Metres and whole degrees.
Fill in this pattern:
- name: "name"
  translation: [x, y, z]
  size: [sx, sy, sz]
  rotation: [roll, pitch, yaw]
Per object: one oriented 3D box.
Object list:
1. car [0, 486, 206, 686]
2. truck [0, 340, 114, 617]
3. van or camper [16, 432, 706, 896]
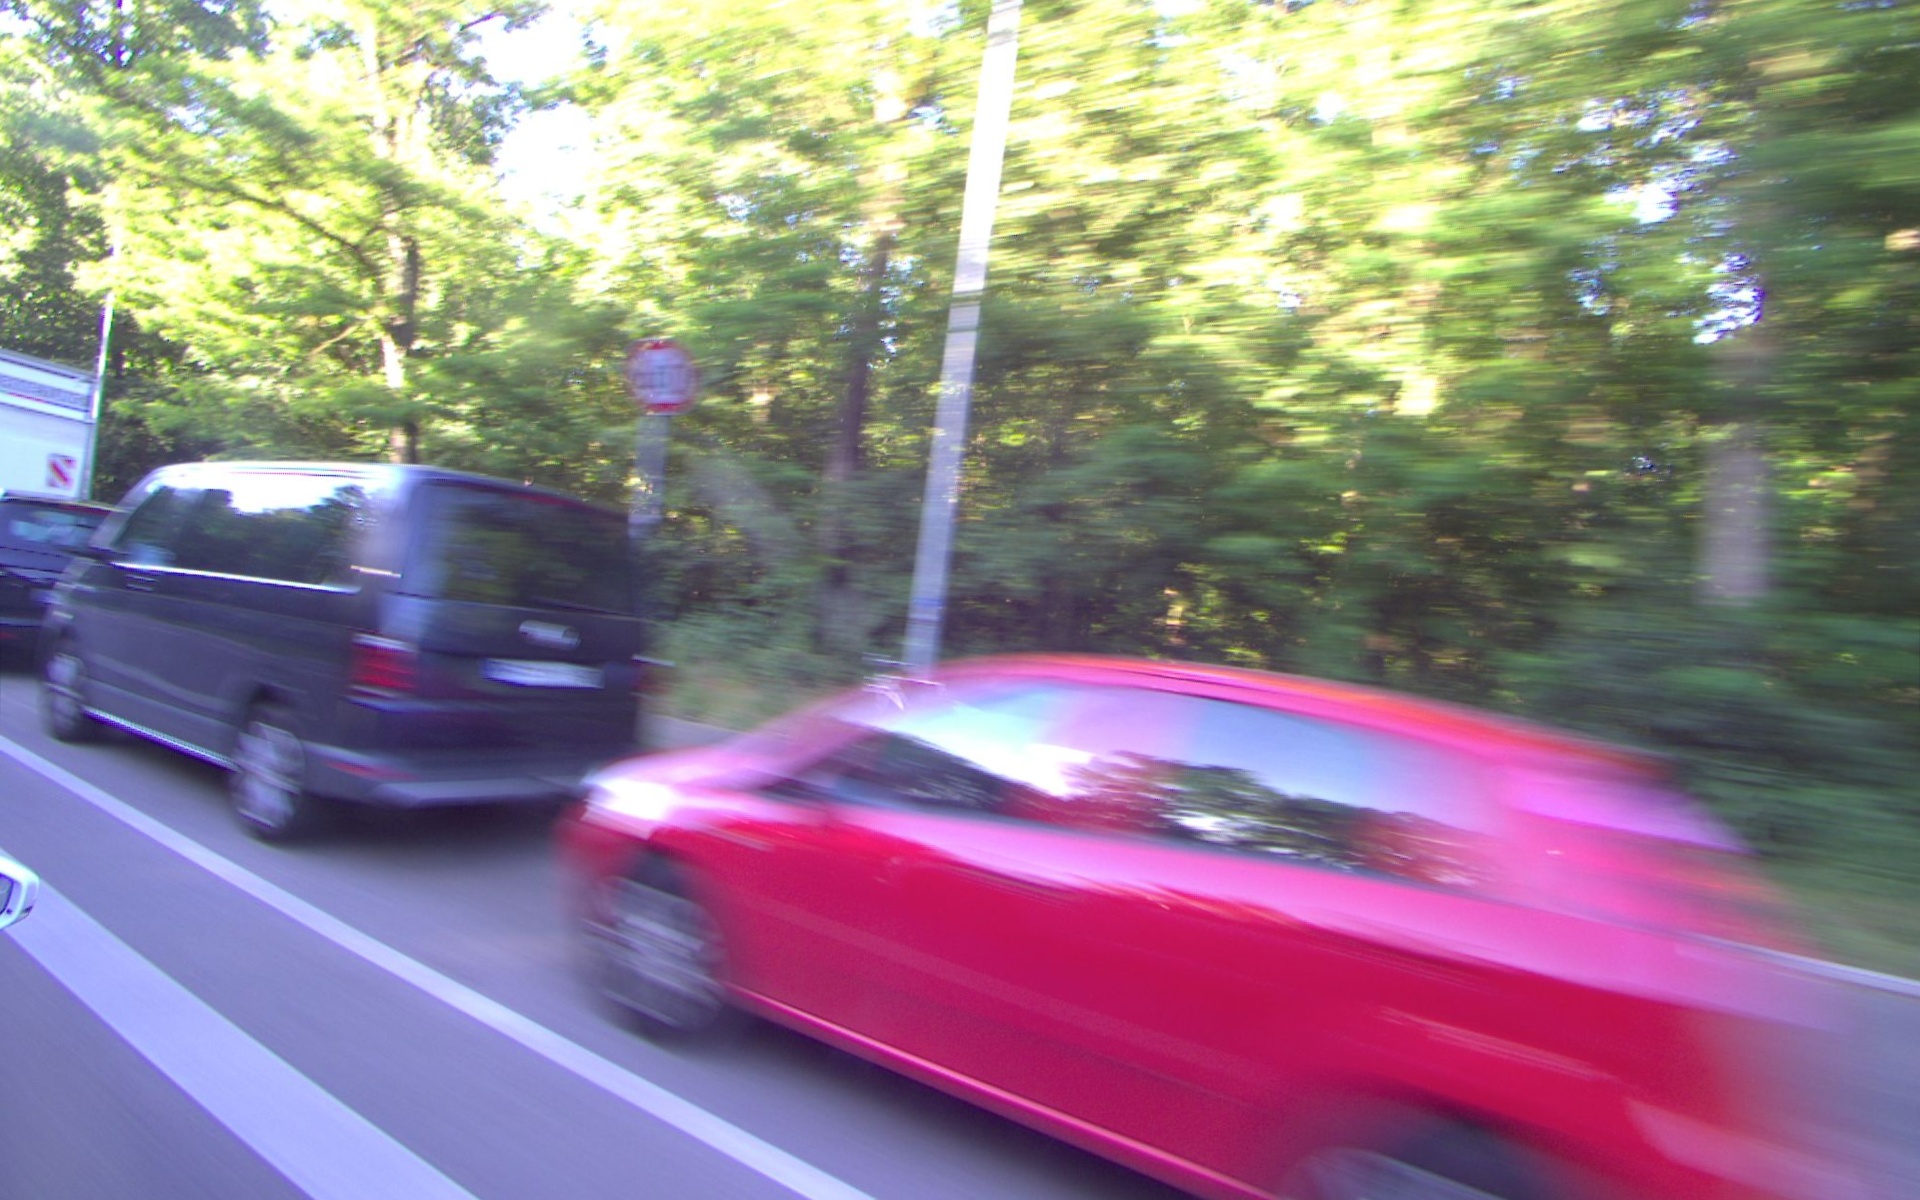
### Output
- name: "car"
  translation: [-9.416, -0.256, 10.127]
  size: [3.968, 1.677, 1.798]
  rotation: [6, 0, 37]
- name: "truck"
  translation: [-16.297, -2.019, 15.146]
  size: [8.437, 3.541, 2.835]
  rotation: [6, 0, 32]
- name: "van or camper"
  translation: [-3.998, 0.147, 6.442]
  size: [4.513, 2.038, 1.899]
  rotation: [6, 0, 34]
